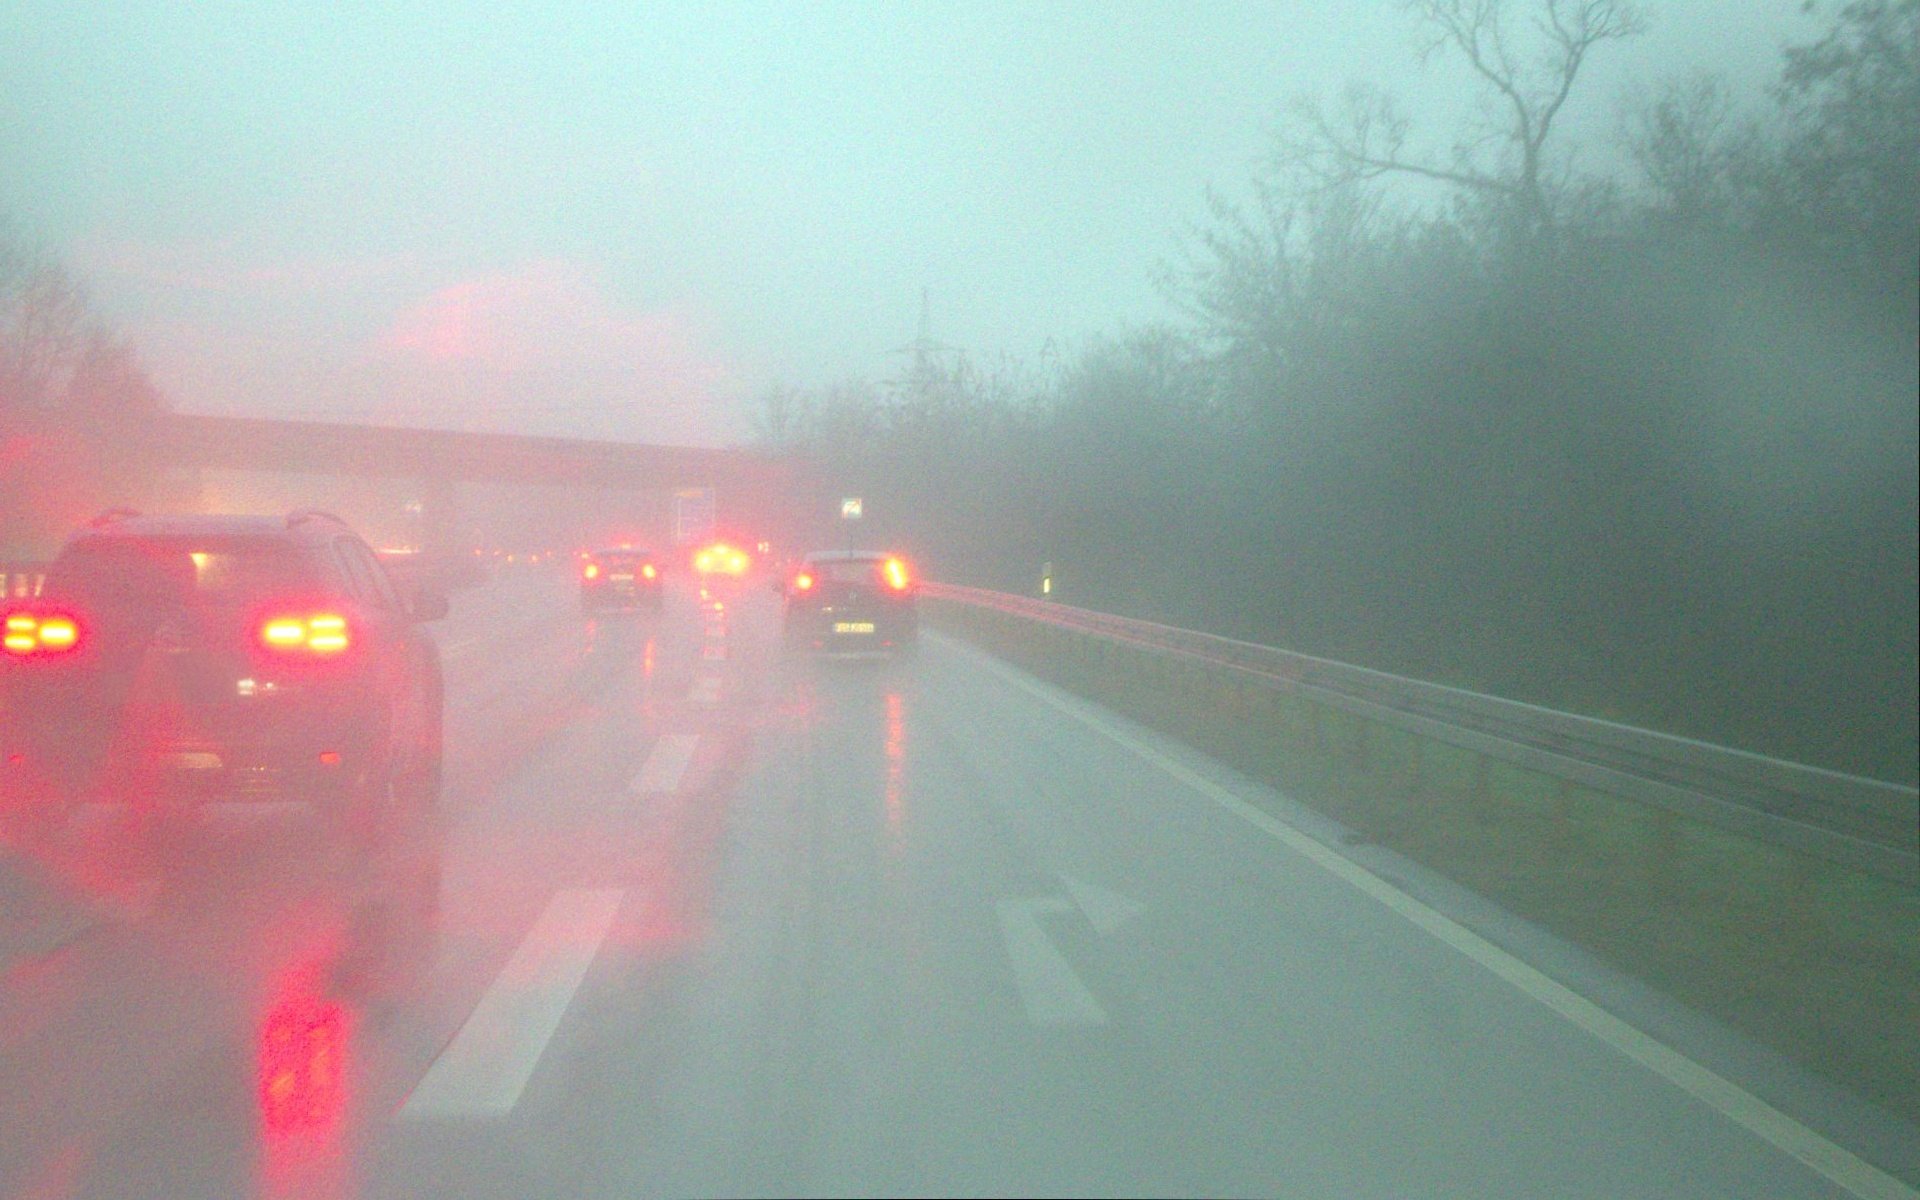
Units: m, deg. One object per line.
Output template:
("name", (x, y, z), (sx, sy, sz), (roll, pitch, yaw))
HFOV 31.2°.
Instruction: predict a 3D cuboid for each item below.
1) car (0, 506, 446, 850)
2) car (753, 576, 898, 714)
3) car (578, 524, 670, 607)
("car", (-3.906, 0.345, 18.641), (1.993, 1.659, 4.001), (0, 1, -5))
("car", (-1.796, 0.552, 45.008), (1.732, 1.424, 3.767), (3, 4, -4))
("car", (-7.281, -0.772, 74.315), (1.878, 1.612, 3.875), (2, 2, -6))
